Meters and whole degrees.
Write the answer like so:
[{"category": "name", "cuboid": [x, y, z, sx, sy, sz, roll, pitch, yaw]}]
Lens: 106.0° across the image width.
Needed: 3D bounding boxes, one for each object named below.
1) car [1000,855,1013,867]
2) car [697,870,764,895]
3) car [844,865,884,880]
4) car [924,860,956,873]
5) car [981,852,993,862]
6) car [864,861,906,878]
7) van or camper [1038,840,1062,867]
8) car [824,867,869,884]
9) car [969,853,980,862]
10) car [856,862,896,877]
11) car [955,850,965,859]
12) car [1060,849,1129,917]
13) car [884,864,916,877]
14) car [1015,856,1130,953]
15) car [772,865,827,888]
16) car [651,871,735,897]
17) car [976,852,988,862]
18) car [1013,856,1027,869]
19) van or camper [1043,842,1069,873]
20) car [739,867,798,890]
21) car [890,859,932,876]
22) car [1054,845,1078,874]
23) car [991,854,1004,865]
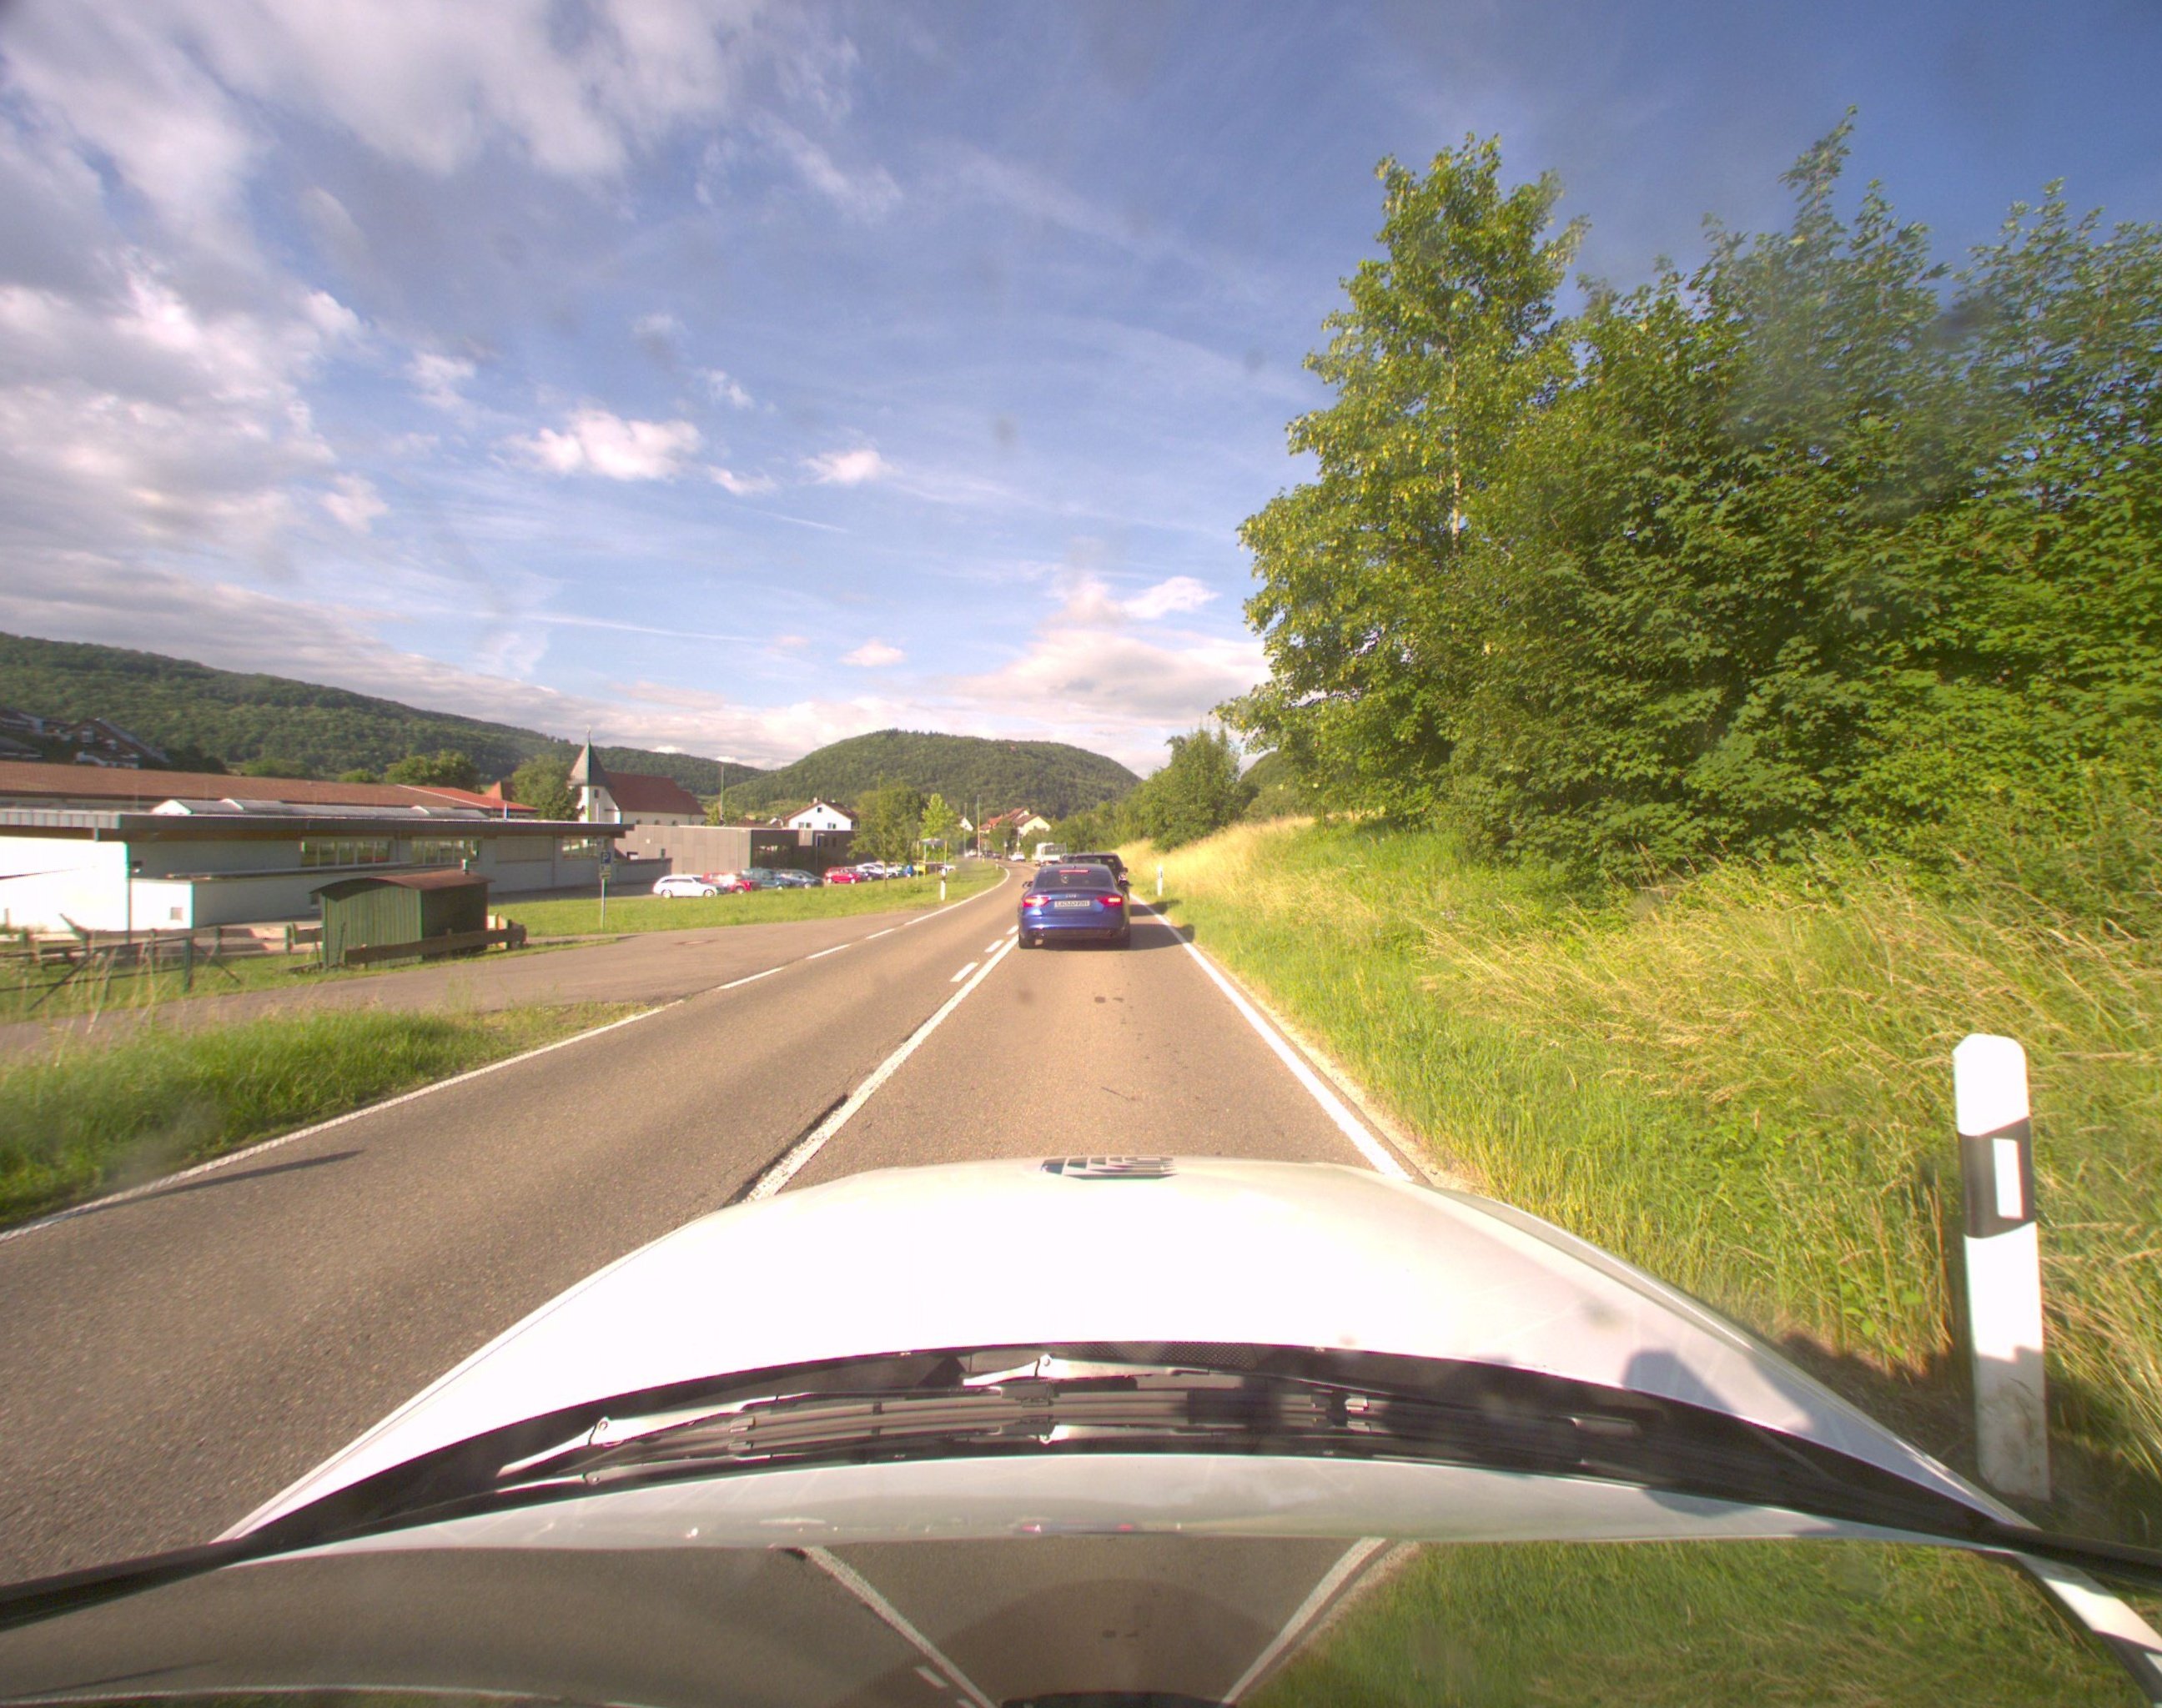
[{"category": "car", "cuboid": [-12.213, 1.156, 133.412, 1.661, 1.924, 3.983, -2, 0, -13]}, {"category": "car", "cuboid": [-24.365, 1.949, 56.653, 3.900, 1.579, 1.758, -1, 0, 5]}, {"category": "car", "cuboid": [-21.849, 1.871, 82.080, 3.605, 1.405, 1.599, -1, -3, 6]}, {"category": "car", "cuboid": [-19.356, 1.680, 111.774, 4.014, 1.660, 1.659, -2, 0, 6]}, {"category": "car", "cuboid": [-18.958, 0.543, 164.097, 1.681, 1.924, 3.977, -2, 0, -17]}, {"category": "car", "cuboid": [-21.317, 1.664, 88.472, 4.056, 1.673, 1.600, -1, 2, 6]}, {"category": "van or camper", "cuboid": [-3.387, -0.057, 87.934, 2.277, 2.714, 5.758, -2, 0, -4]}, {"category": "car", "cuboid": [-22.174, 2.023, 77.031, 3.605, 1.444, 1.651, -2, 0, 6]}, {"category": "car", "cuboid": [-23.842, 0.718, 181.671, 1.682, 1.924, 3.975, -2, 0, -18]}, {"category": "car", "cuboid": [-21.455, 1.643, 85.257, 3.647, 1.494, 1.599, -1, -1, 6]}, {"category": "car", "cuboid": [-29.459, 0.156, 197.891, 1.682, 1.924, 3.975, -2, 0, -18]}, {"category": "car", "cuboid": [0.314, 0.701, 21.342, 1.640, 1.625, 3.516, 0, 0, -1]}, {"category": "car", "cuboid": [-20.988, 1.904, 94.525, 3.359, 1.373, 1.659, -2, 0, -1]}, {"category": "car", "cuboid": [-0.048, 0.774, 14.118, 1.735, 1.450, 3.519, 0, 0, 2]}, {"category": "car", "cuboid": [-23.107, 1.820, 66.918, 3.799, 1.722, 1.735, -1, 0, 5]}, {"category": "car", "cuboid": [-25.594, 1.972, 53.820, 4.618, 1.589, 2.003, -1, 0, 5]}, {"category": "car", "cuboid": [-21.039, 0.613, 172.938, 1.682, 1.924, 3.975, -2, 0, -18]}, {"category": "car", "cuboid": [-9.225, 1.248, 122.817, 1.660, 1.924, 3.985, -2, 0, -11]}, {"category": "van or camper", "cuboid": [-2.202, 0.317, 70.230, 2.048, 2.505, 5.804, -2, 0, -4]}, {"category": "car", "cuboid": [-23.865, 1.858, 62.296, 3.845, 1.722, 1.757, 0, 0, 3]}, {"category": "car", "cuboid": [-20.261, 1.641, 97.162, 4.529, 1.815, 1.844, -2, 0, 6]}, {"category": "car", "cuboid": [-1.125, 0.388, 59.745, 1.563, 2.013, 3.996, -2, 0, -3]}, {"category": "car", "cuboid": [-15.701, 0.988, 152.782, 1.663, 1.924, 3.979, -2, 0, -16]}]
